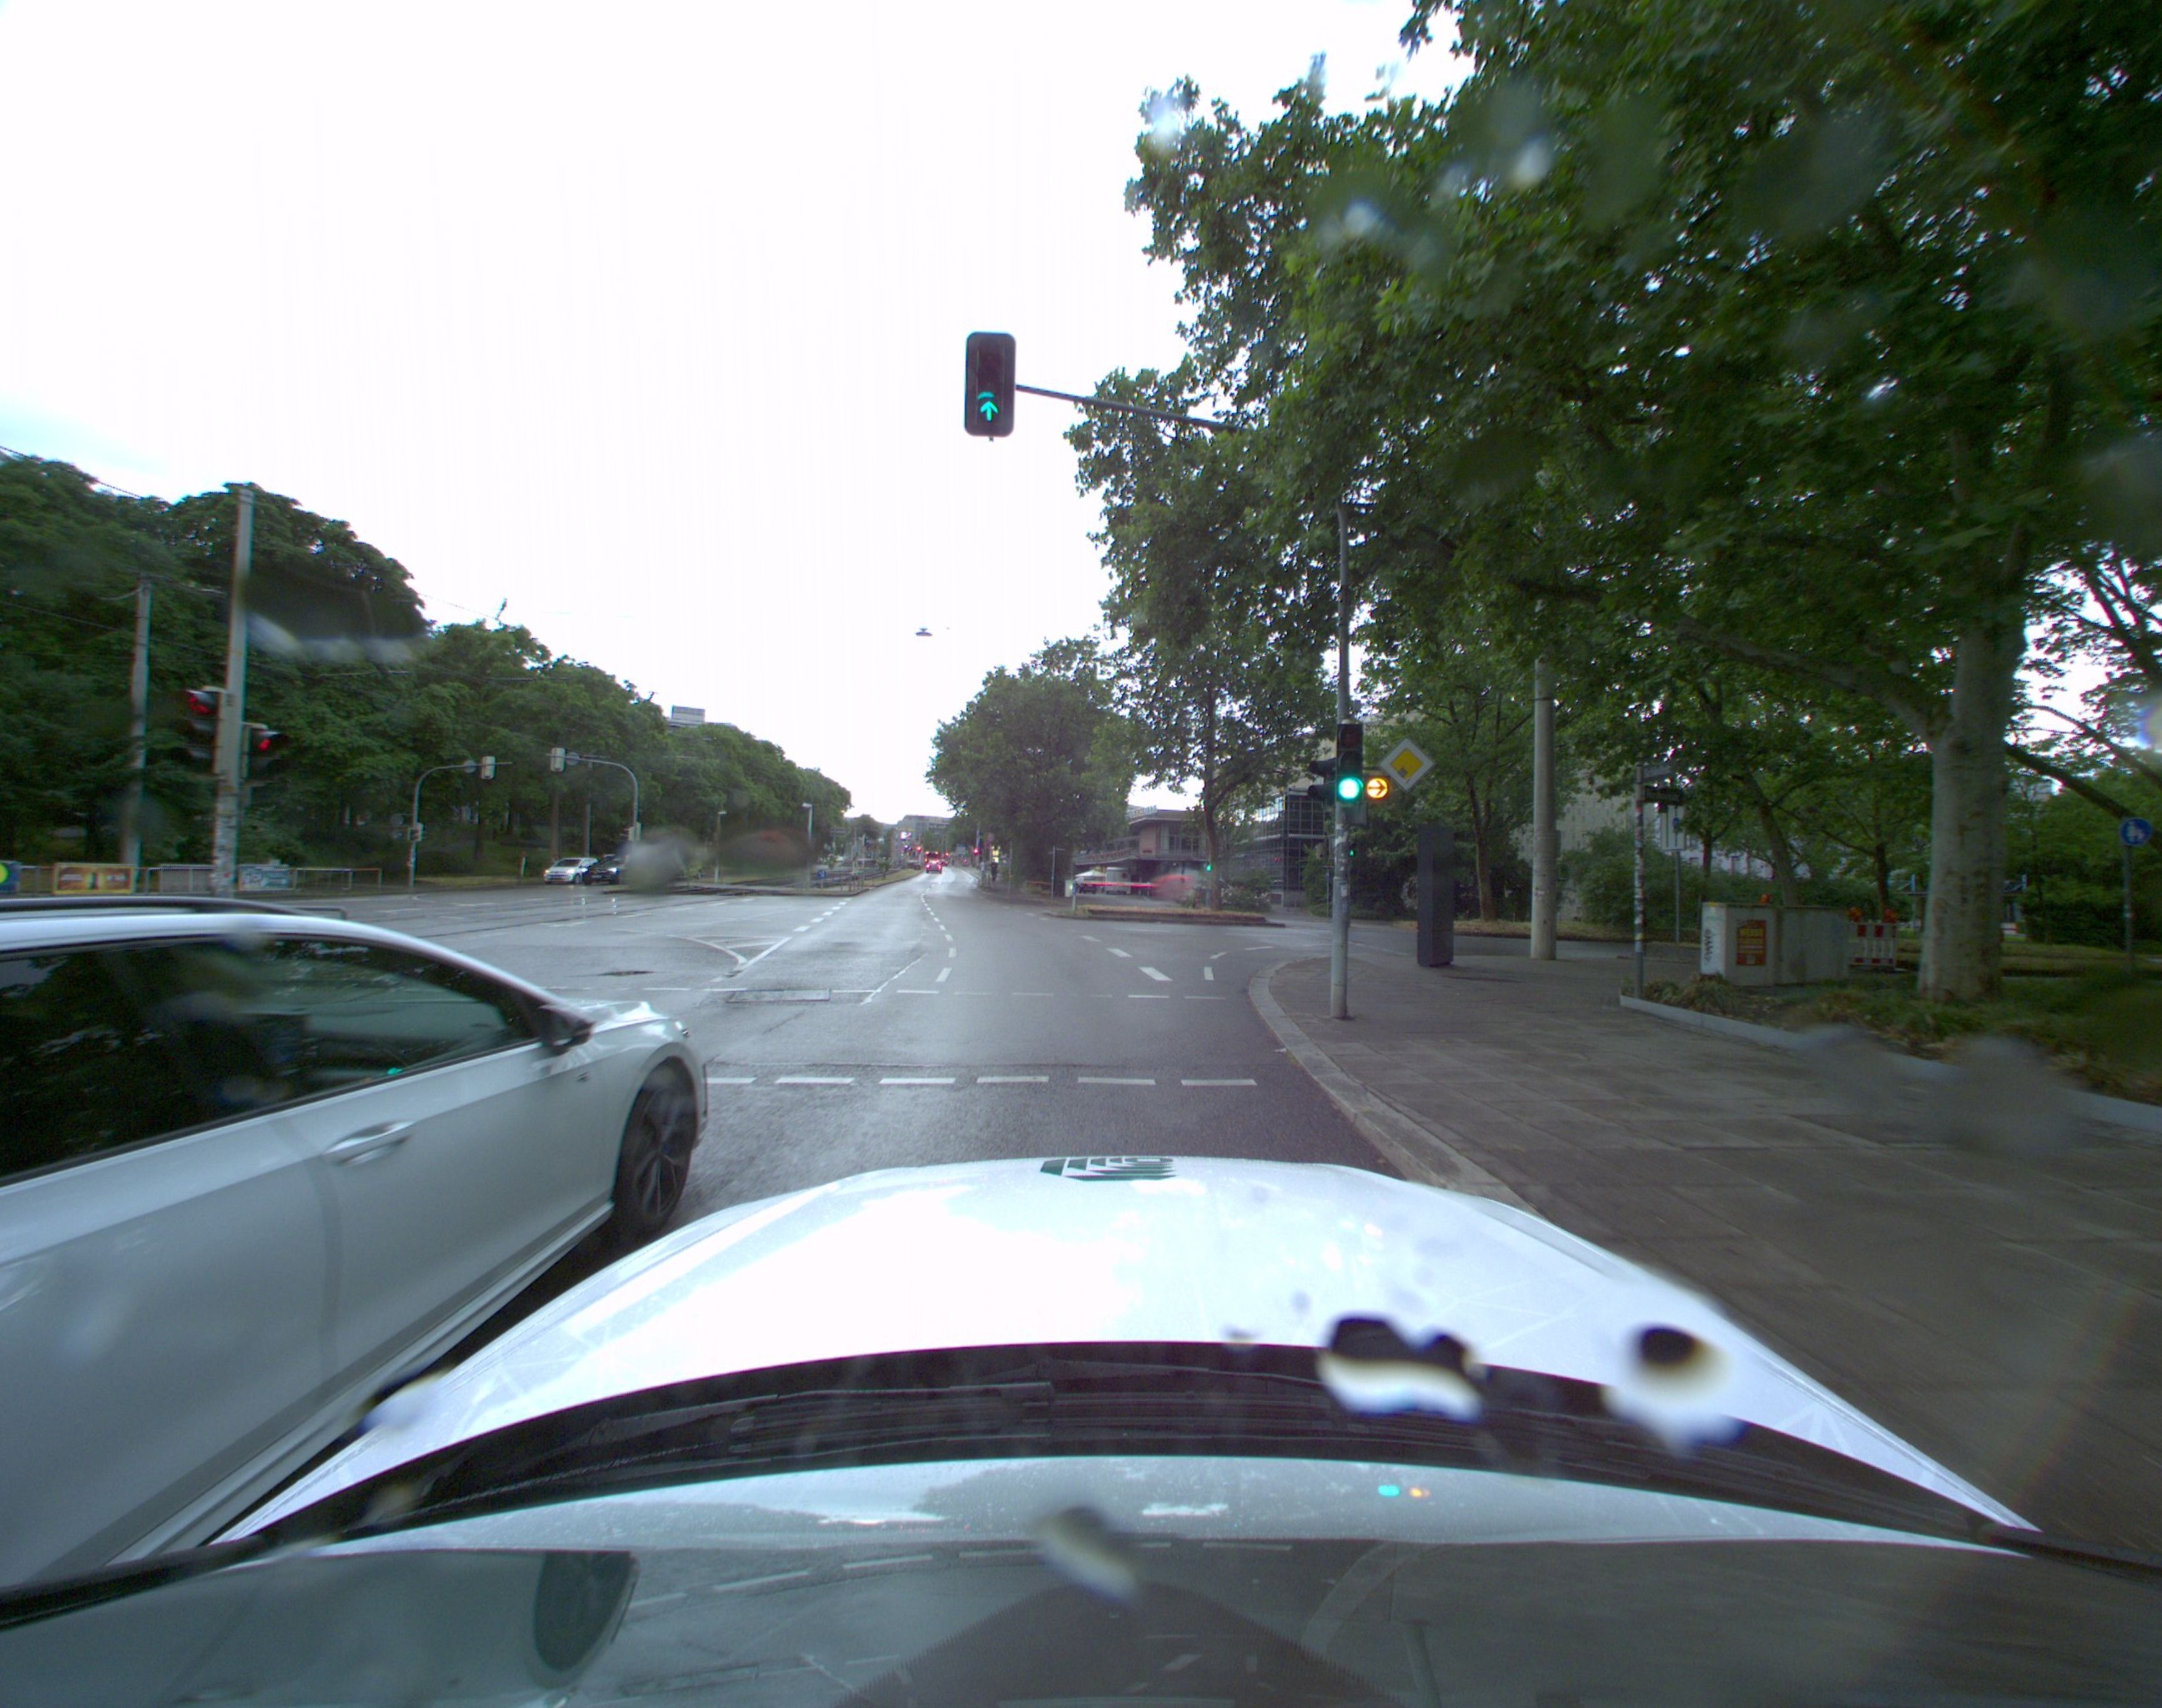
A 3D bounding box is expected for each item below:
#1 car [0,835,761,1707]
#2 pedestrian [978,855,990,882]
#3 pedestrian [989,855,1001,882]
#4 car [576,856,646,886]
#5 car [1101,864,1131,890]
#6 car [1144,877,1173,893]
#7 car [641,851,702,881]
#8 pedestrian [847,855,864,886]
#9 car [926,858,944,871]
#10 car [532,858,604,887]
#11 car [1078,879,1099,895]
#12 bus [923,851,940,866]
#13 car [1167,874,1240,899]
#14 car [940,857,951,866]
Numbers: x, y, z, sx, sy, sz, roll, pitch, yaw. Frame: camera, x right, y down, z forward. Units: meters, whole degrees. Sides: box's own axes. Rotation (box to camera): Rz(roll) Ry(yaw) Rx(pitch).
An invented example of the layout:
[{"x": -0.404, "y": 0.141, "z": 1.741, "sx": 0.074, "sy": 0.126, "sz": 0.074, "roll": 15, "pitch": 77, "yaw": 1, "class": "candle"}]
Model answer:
[{"x": -2.593, "y": 0.705, "z": 1.913, "sx": 1.789, "sy": 1.442, "sz": 4.477, "roll": 0, "pitch": -1, "yaw": 2, "class": "car"}, {"x": -7.435, "y": 1.107, "z": 62.490, "sx": 0.813, "sy": 2.014, "sz": 1.075, "roll": 0, "pitch": -1, "yaw": -6, "class": "pedestrian"}, {"x": -6.601, "y": 1.101, "z": 62.721, "sx": 0.873, "sy": 2.014, "sz": 1.075, "roll": 0, "pitch": -1, "yaw": -6, "class": "pedestrian"}, {"x": -25.690, "y": 0.937, "z": 44.644, "sx": 1.917, "sy": 1.546, "sz": 3.673, "roll": 1, "pitch": -1, "yaw": -5, "class": "car"}, {"x": 3.840, "y": 2.475, "z": 90.589, "sx": 2.725, "sy": 2.695, "sz": 6.916, "roll": 2, "pitch": -1, "yaw": -2, "class": "car"}, {"x": 8.345, "y": 3.344, "z": 88.245, "sx": 2.020, "sy": 1.551, "sz": 4.334, "roll": 2, "pitch": -1, "yaw": -10, "class": "car"}, {"x": -26.547, "y": 0.778, "z": 52.942, "sx": 1.917, "sy": 1.851, "sz": 4.558, "roll": 1, "pitch": -1, "yaw": -5, "class": "car"}, {"x": -13.232, "y": 0.979, "z": 47.863, "sx": 0.870, "sy": 1.802, "sz": 0.864, "roll": 2, "pitch": -1, "yaw": -15, "class": "pedestrian"}, {"x": -17.224, "y": 1.226, "z": 96.524, "sx": 1.993, "sy": 1.519, "sz": 4.336, "roll": 0, "pitch": -1, "yaw": -9, "class": "car"}, {"x": -29.024, "y": 1.041, "z": 46.218, "sx": 1.917, "sy": 1.546, "sz": 3.673, "roll": 1, "pitch": -1, "yaw": -5, "class": "car"}, {"x": 0.835, "y": 3.503, "z": 87.180, "sx": 2.010, "sy": 1.551, "sz": 4.354, "roll": 2, "pitch": -1, "yaw": 4, "class": "car"}, {"x": -32.457, "y": 0.973, "z": 176.601, "sx": 3.591, "sy": 3.171, "sz": 10.381, "roll": 0, "pitch": -1, "yaw": -11, "class": "bus"}, {"x": 9.252, "y": 2.434, "z": 61.236, "sx": 5.221, "sy": 1.731, "sz": 1.860, "roll": 2, "pitch": -1, "yaw": -23, "class": "car"}, {"x": -30.142, "y": 1.699, "z": 181.513, "sx": 2.364, "sy": 1.817, "sz": 5.164, "roll": 0, "pitch": -1, "yaw": -11, "class": "car"}]
